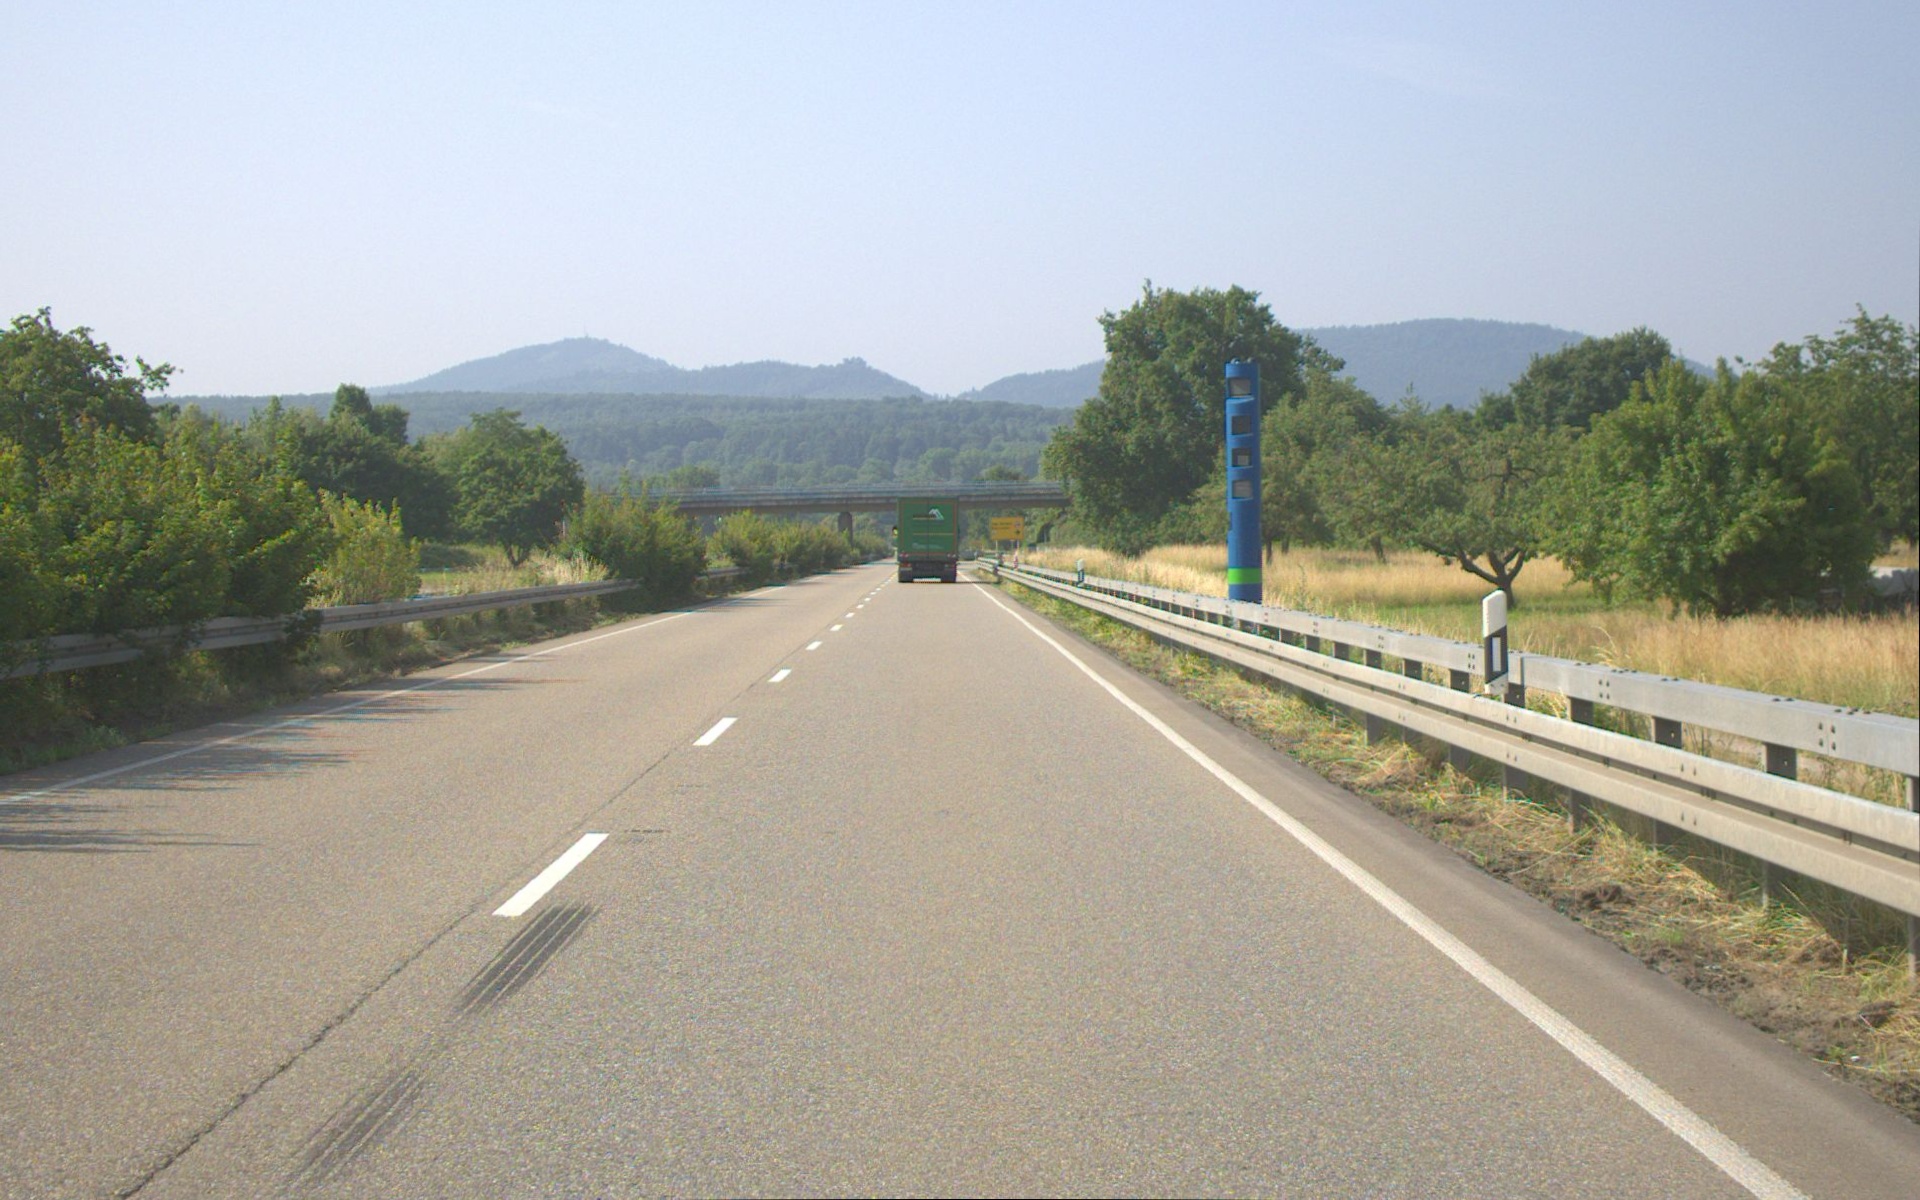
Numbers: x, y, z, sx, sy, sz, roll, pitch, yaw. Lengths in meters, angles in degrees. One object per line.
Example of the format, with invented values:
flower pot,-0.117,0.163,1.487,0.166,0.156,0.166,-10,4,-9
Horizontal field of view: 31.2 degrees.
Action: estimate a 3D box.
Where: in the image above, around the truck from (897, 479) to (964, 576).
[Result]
truck,-1.251,-3.203,148.227,2.722,3.952,10.417,1,2,0
